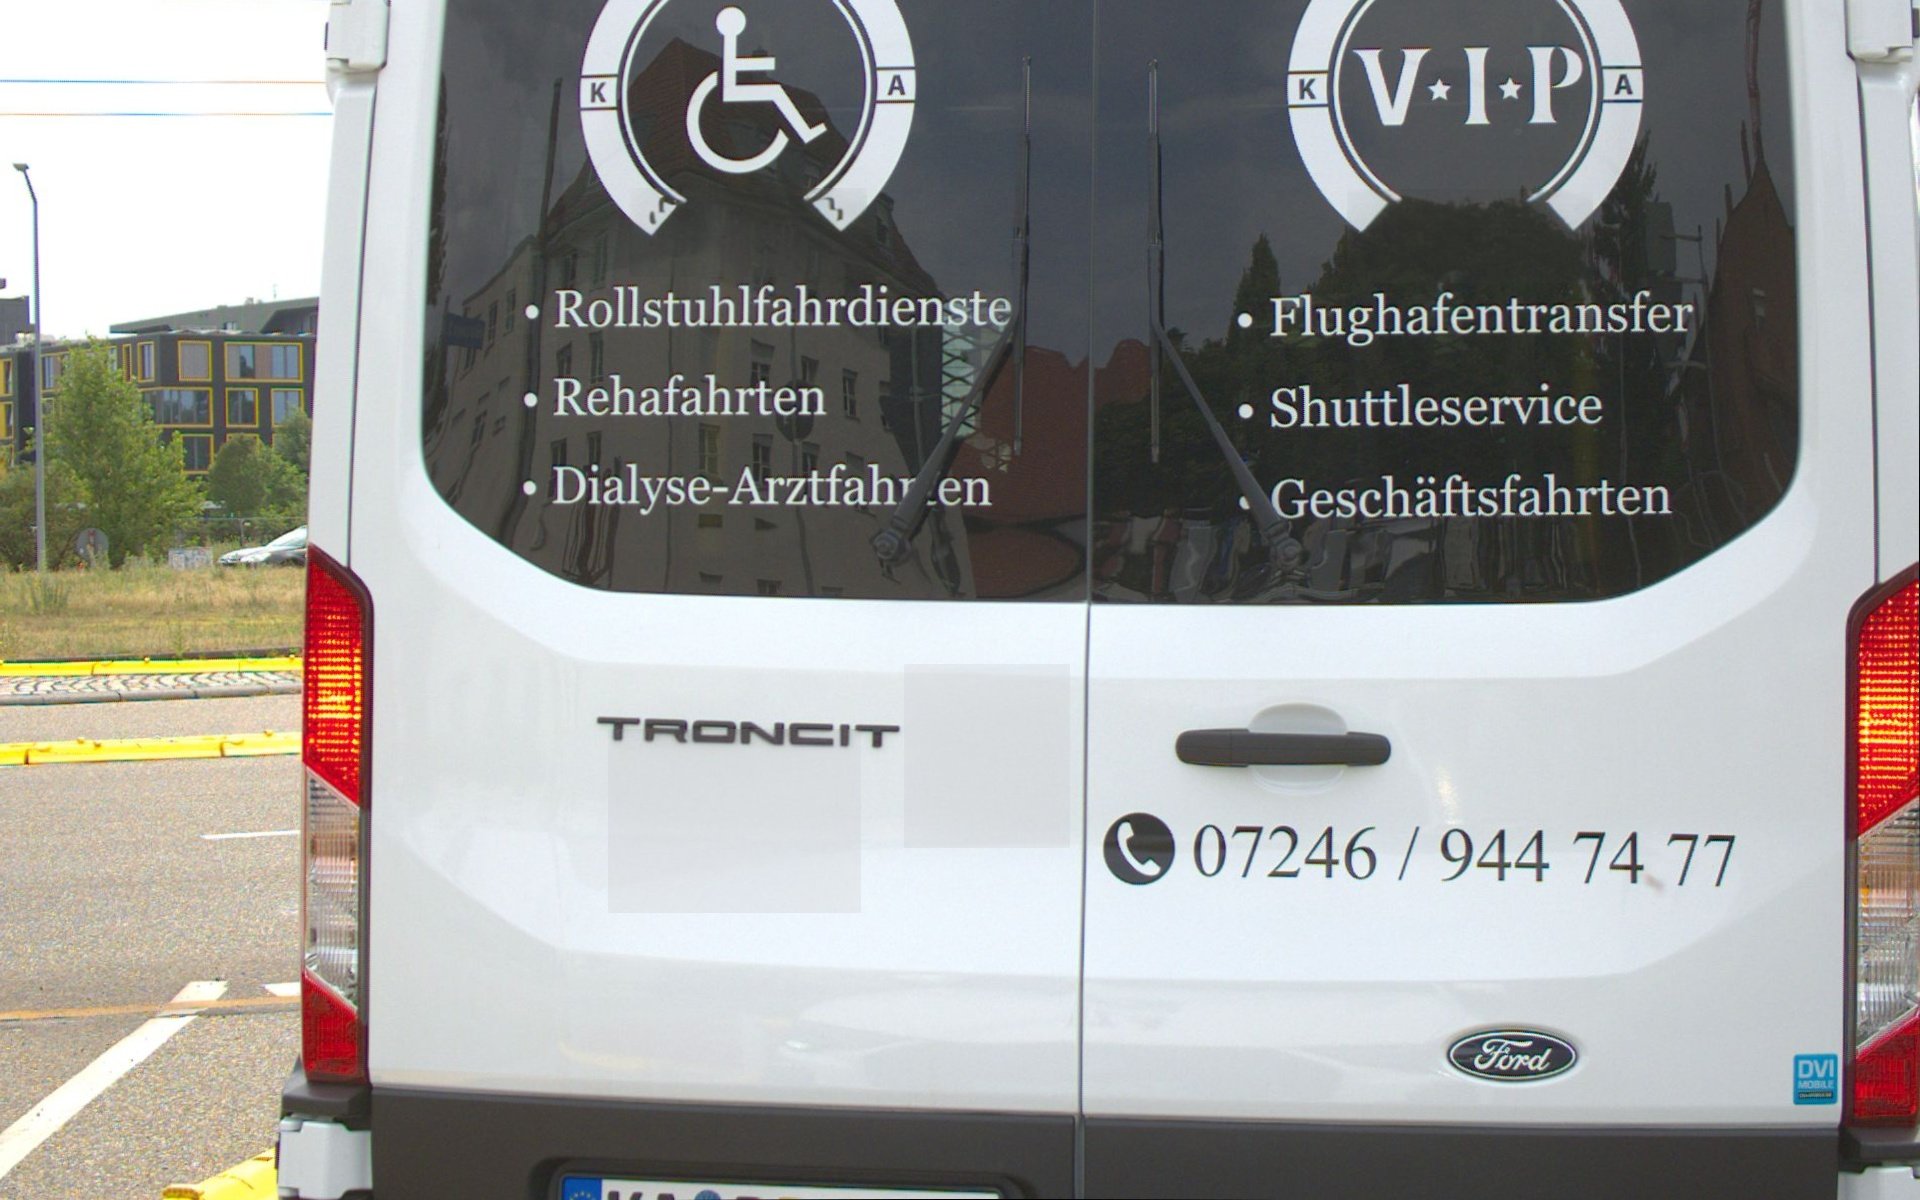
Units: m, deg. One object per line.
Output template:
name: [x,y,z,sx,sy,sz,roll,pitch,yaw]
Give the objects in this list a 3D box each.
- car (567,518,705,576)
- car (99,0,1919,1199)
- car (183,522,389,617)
car: [-8.377,-1.380,89.273,1.829,1.458,3.995,0,1,24]
car: [0.435,-0.011,6.360,2.127,2.688,5.631,-1,1,6]
car: [-14.568,-0.658,74.272,3.986,2.007,2.000,0,0,-25]
